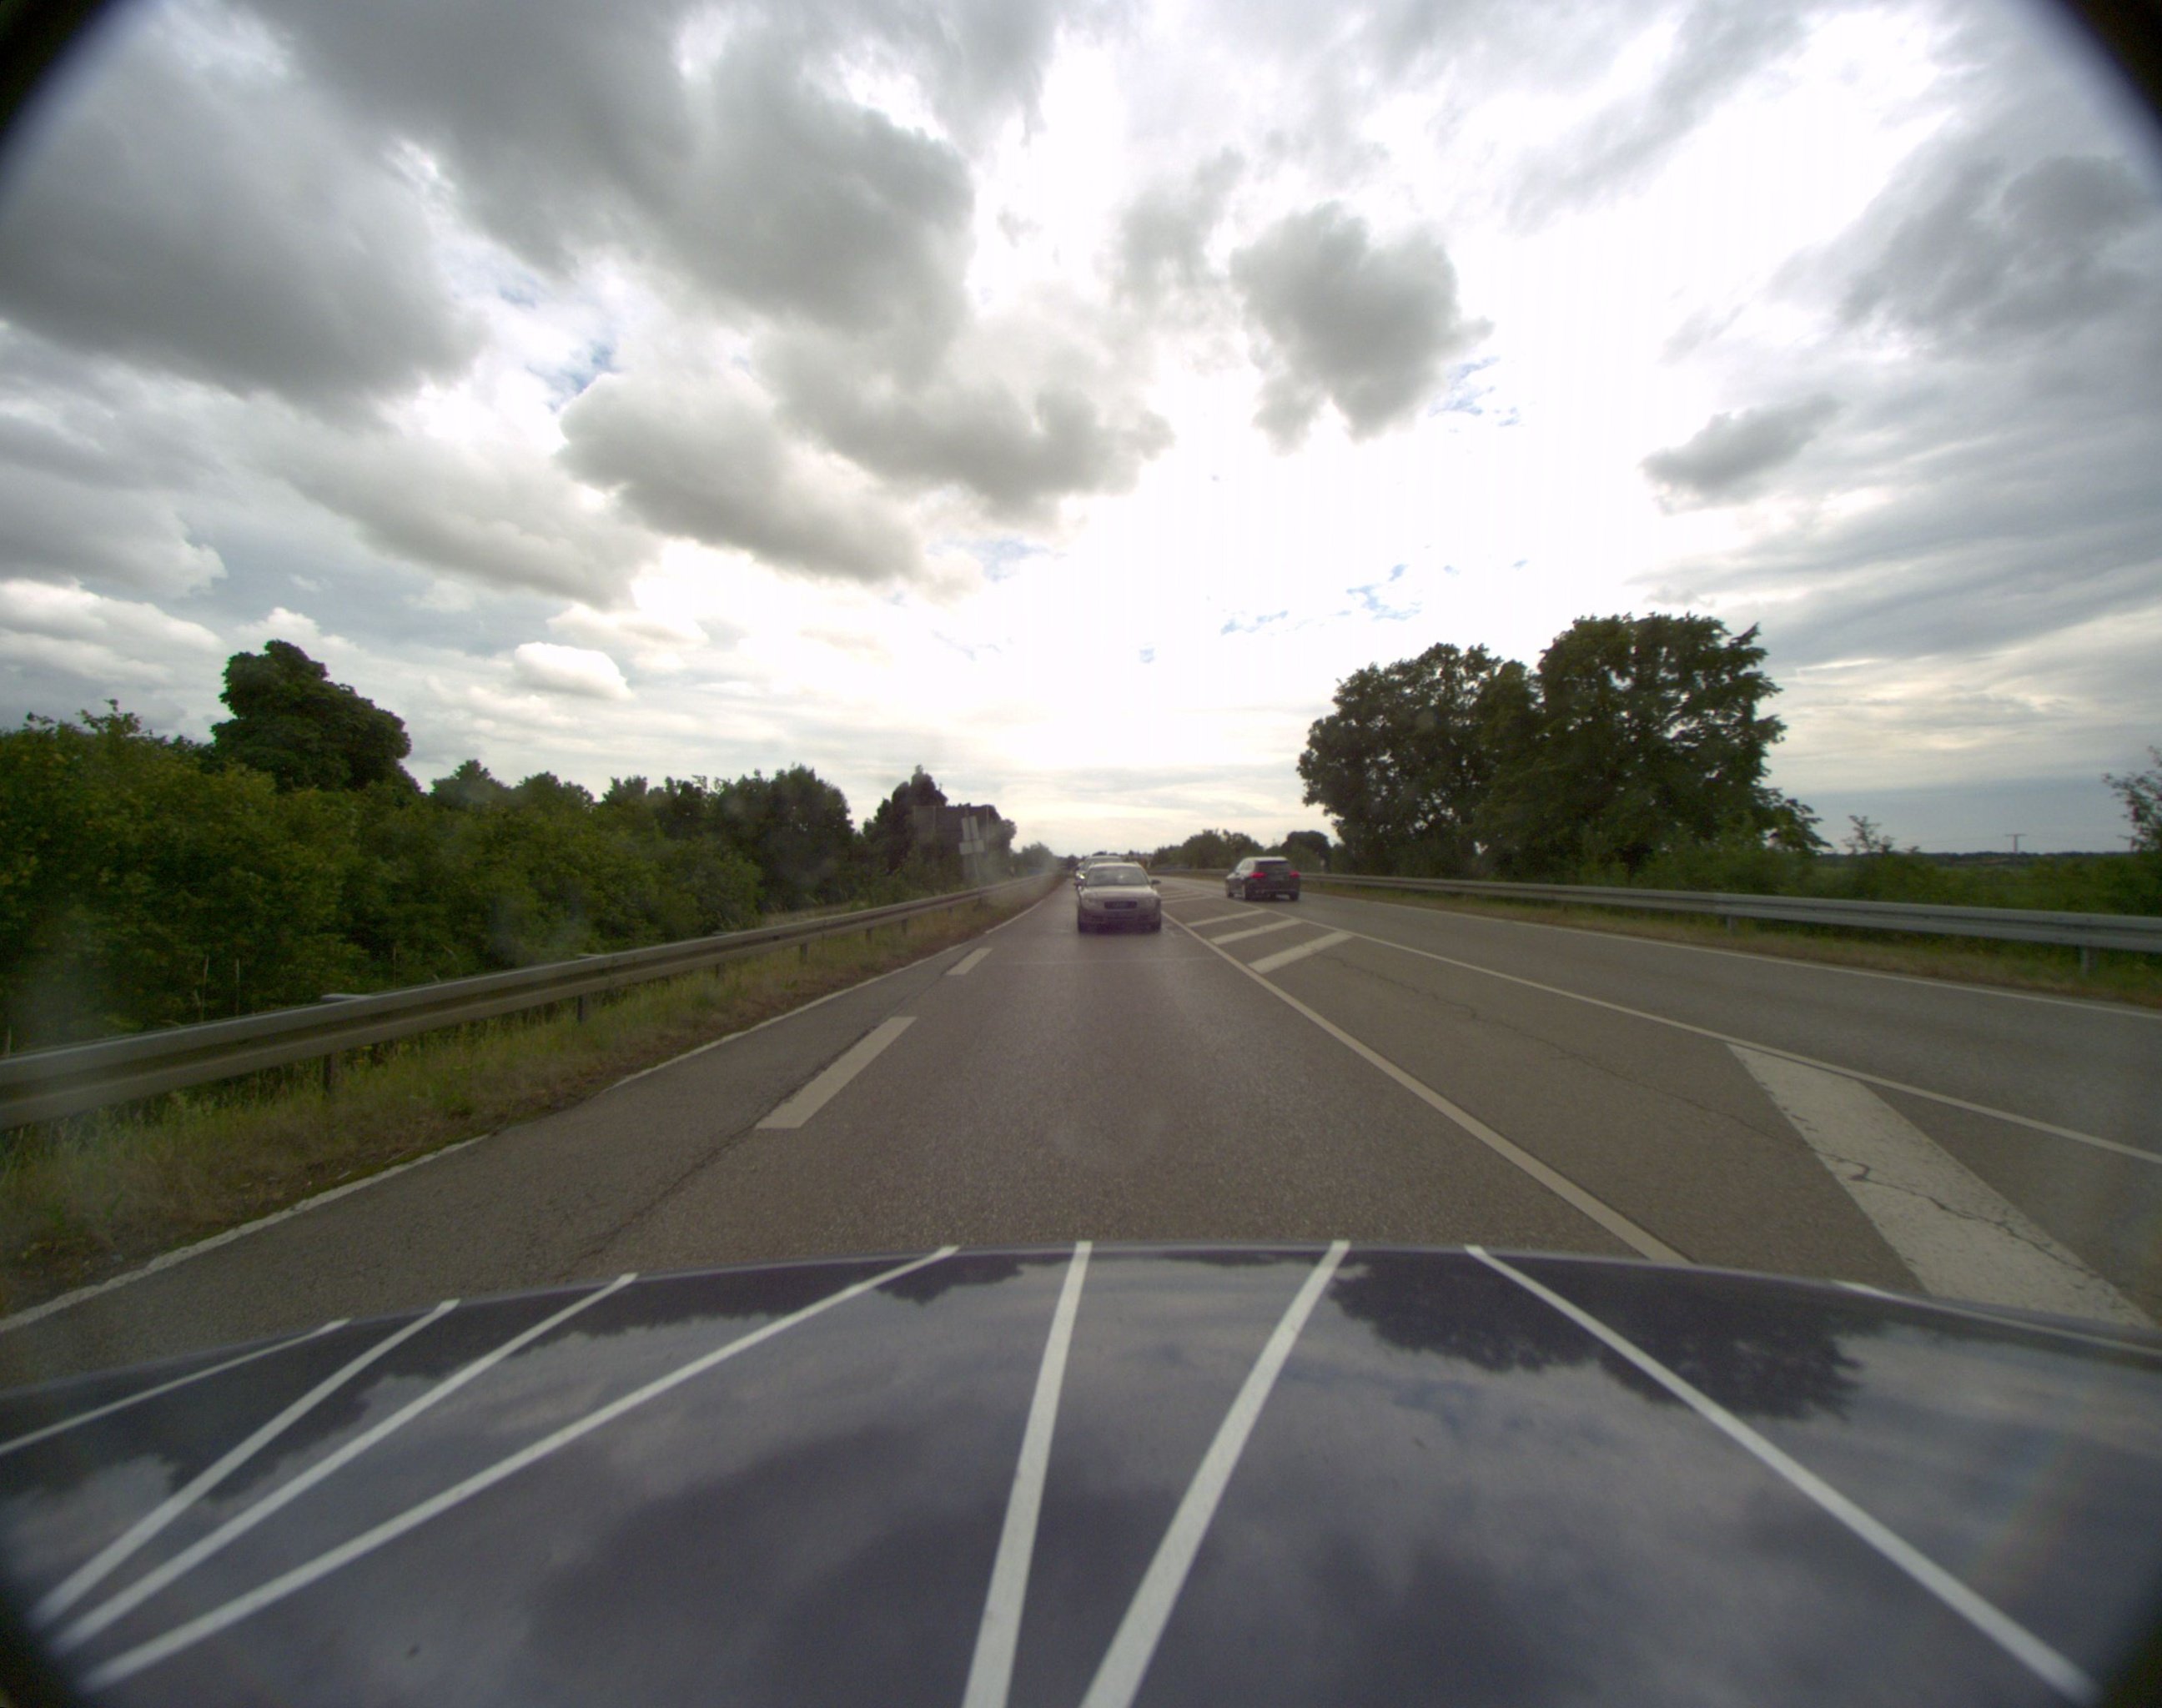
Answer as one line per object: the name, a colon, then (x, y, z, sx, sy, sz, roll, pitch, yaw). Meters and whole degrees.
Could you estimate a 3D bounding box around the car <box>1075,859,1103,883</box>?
car: (0.567, 1.157, 53.088, 1.834, 1.537, 4.035, -1, 0, 1)

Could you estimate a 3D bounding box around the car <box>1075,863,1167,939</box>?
car: (0.812, 0.945, 16.939, 1.784, 1.441, 4.035, -1, 0, 1)

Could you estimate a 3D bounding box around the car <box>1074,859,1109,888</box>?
car: (0.575, 1.046, 42.757, 1.834, 1.537, 4.035, -1, 0, 1)

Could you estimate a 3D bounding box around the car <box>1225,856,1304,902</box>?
car: (6.242, 0.806, 26.328, 1.675, 1.421, 4.258, -1, 0, 0)

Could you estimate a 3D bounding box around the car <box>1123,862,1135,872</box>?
car: (7.674, 2.023, 121.648, 1.834, 1.537, 4.035, -1, 0, 1)

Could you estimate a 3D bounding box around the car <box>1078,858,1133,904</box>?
car: (0.869, 0.935, 28.068, 1.834, 1.537, 4.035, -1, 0, 1)
